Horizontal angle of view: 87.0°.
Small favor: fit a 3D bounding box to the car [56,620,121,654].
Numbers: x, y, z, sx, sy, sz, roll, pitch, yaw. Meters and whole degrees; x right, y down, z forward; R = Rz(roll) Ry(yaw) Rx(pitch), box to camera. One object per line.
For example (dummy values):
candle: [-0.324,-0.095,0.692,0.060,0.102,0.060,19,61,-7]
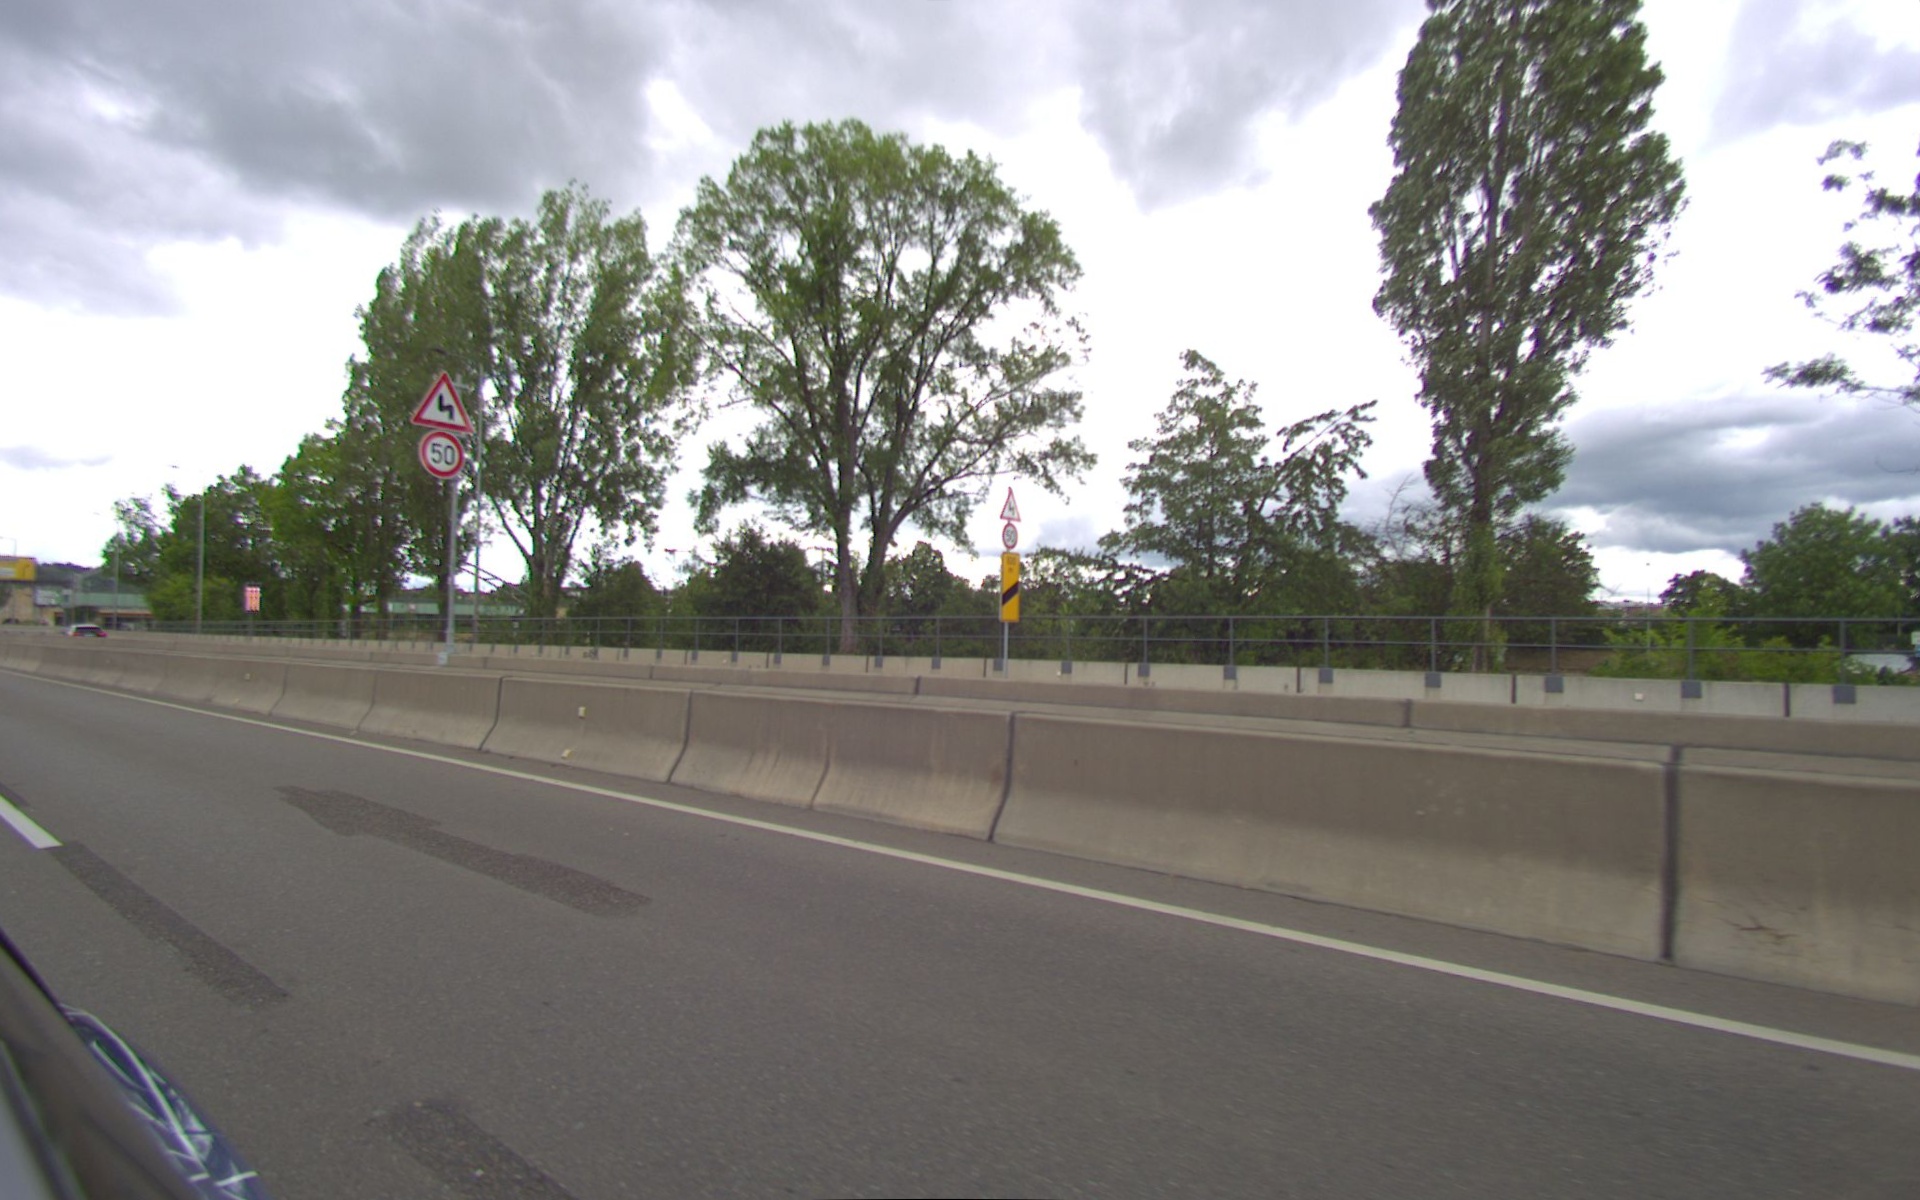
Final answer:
car: [-52.449,2.199,60.876,4.999,1.940,2.305,-1,0,41]
